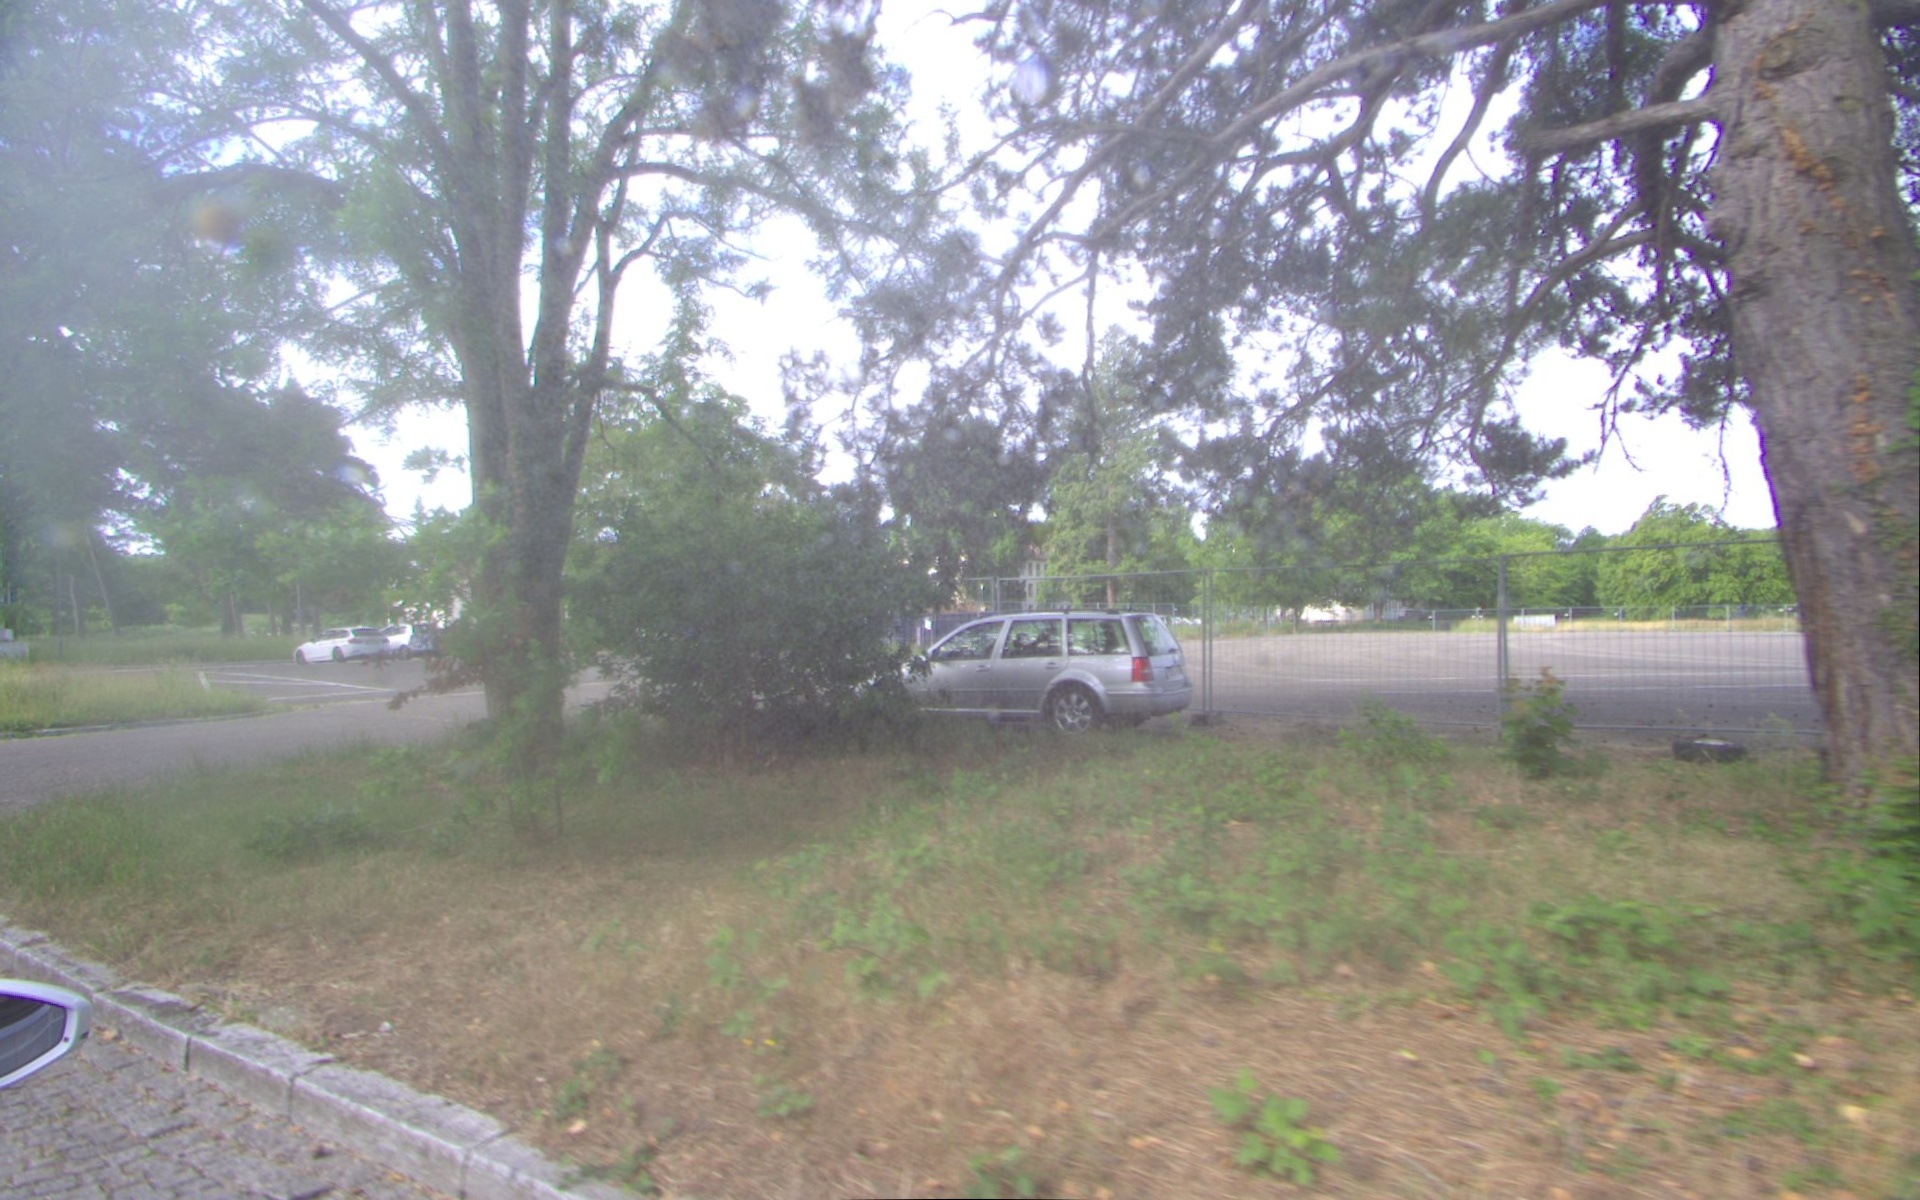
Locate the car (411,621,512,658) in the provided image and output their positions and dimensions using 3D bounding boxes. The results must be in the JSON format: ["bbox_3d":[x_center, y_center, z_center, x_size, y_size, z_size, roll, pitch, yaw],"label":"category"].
[{"bbox_3d":[-22.654,1.792,45.515,4.359,1.500,1.991,-3,-2,29],"label":"car"}]

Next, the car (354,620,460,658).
[{"bbox_3d":[-23.825,1.690,43.101,4.359,1.500,1.991,-3,-2,29],"label":"car"}]

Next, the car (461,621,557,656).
[{"bbox_3d":[-21.634,1.879,48.028,4.359,1.542,1.992,-3,-3,29],"label":"car"}]

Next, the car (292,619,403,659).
[{"bbox_3d":[-25.010,1.596,40.875,4.359,1.500,1.991,-3,-2,29],"label":"car"}]

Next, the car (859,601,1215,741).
[{"bbox_3d":[0.883,0.822,12.161,4.014,1.444,1.645,-1,-4,31],"label":"car"}]
